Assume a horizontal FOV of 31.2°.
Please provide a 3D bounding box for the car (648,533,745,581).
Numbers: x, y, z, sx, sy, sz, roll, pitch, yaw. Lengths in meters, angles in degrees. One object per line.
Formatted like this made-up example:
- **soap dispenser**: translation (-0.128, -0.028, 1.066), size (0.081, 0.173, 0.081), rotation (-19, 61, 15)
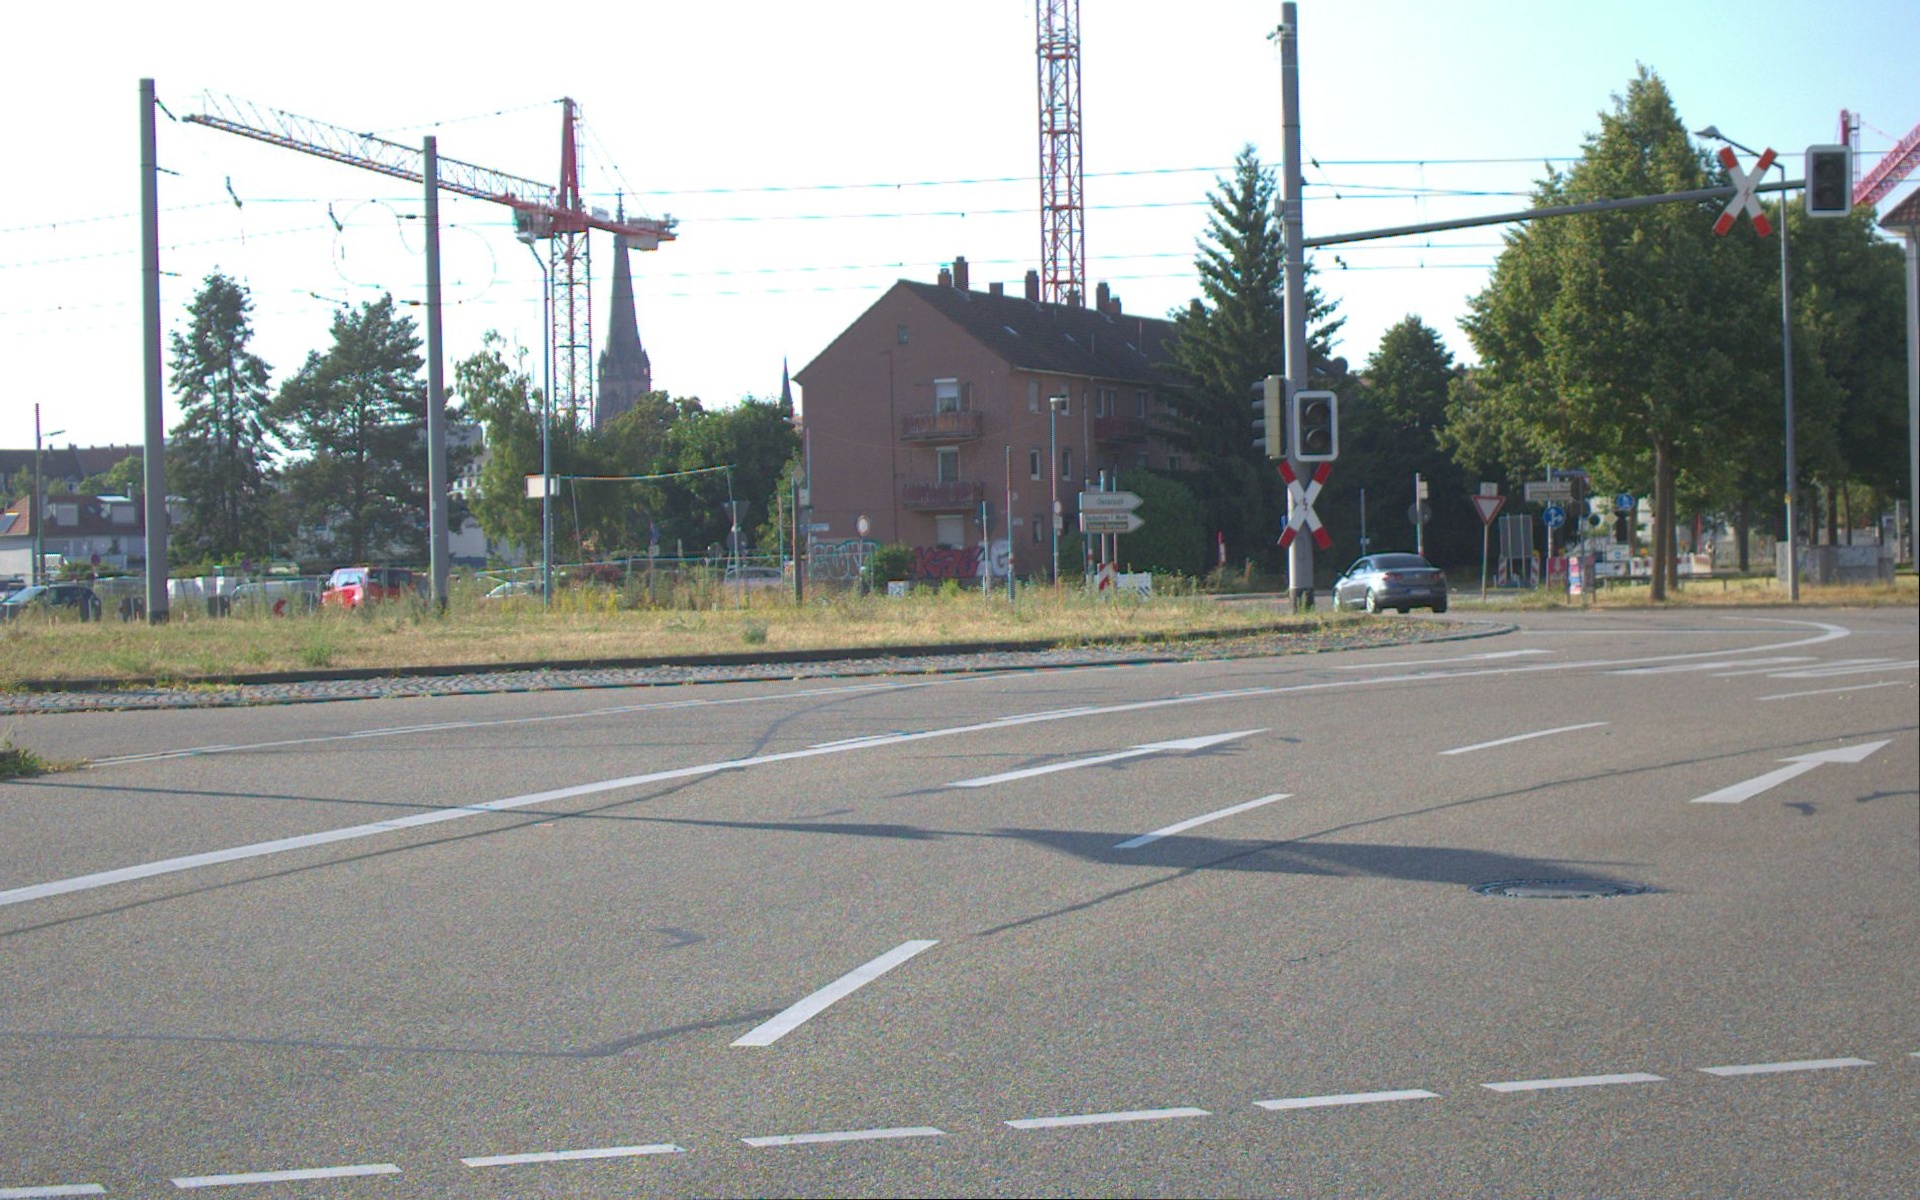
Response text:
- **car**: translation (-11.466, -1.884, 149.590), size (3.812, 2.007, 1.670), rotation (-1, 0, 19)

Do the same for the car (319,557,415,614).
- **car**: translation (-20.069, -0.504, 116.293), size (1.919, 1.847, 4.000), rotation (-2, 1, -30)

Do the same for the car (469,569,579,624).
- **car**: translation (-16.791, -0.134, 132.353), size (3.812, 2.007, 1.670), rotation (-1, 0, 19)

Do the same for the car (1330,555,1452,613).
- **car**: translation (10.012, -0.387, 80.033), size (1.455, 1.295, 3.549), rotation (-2, 1, -18)
